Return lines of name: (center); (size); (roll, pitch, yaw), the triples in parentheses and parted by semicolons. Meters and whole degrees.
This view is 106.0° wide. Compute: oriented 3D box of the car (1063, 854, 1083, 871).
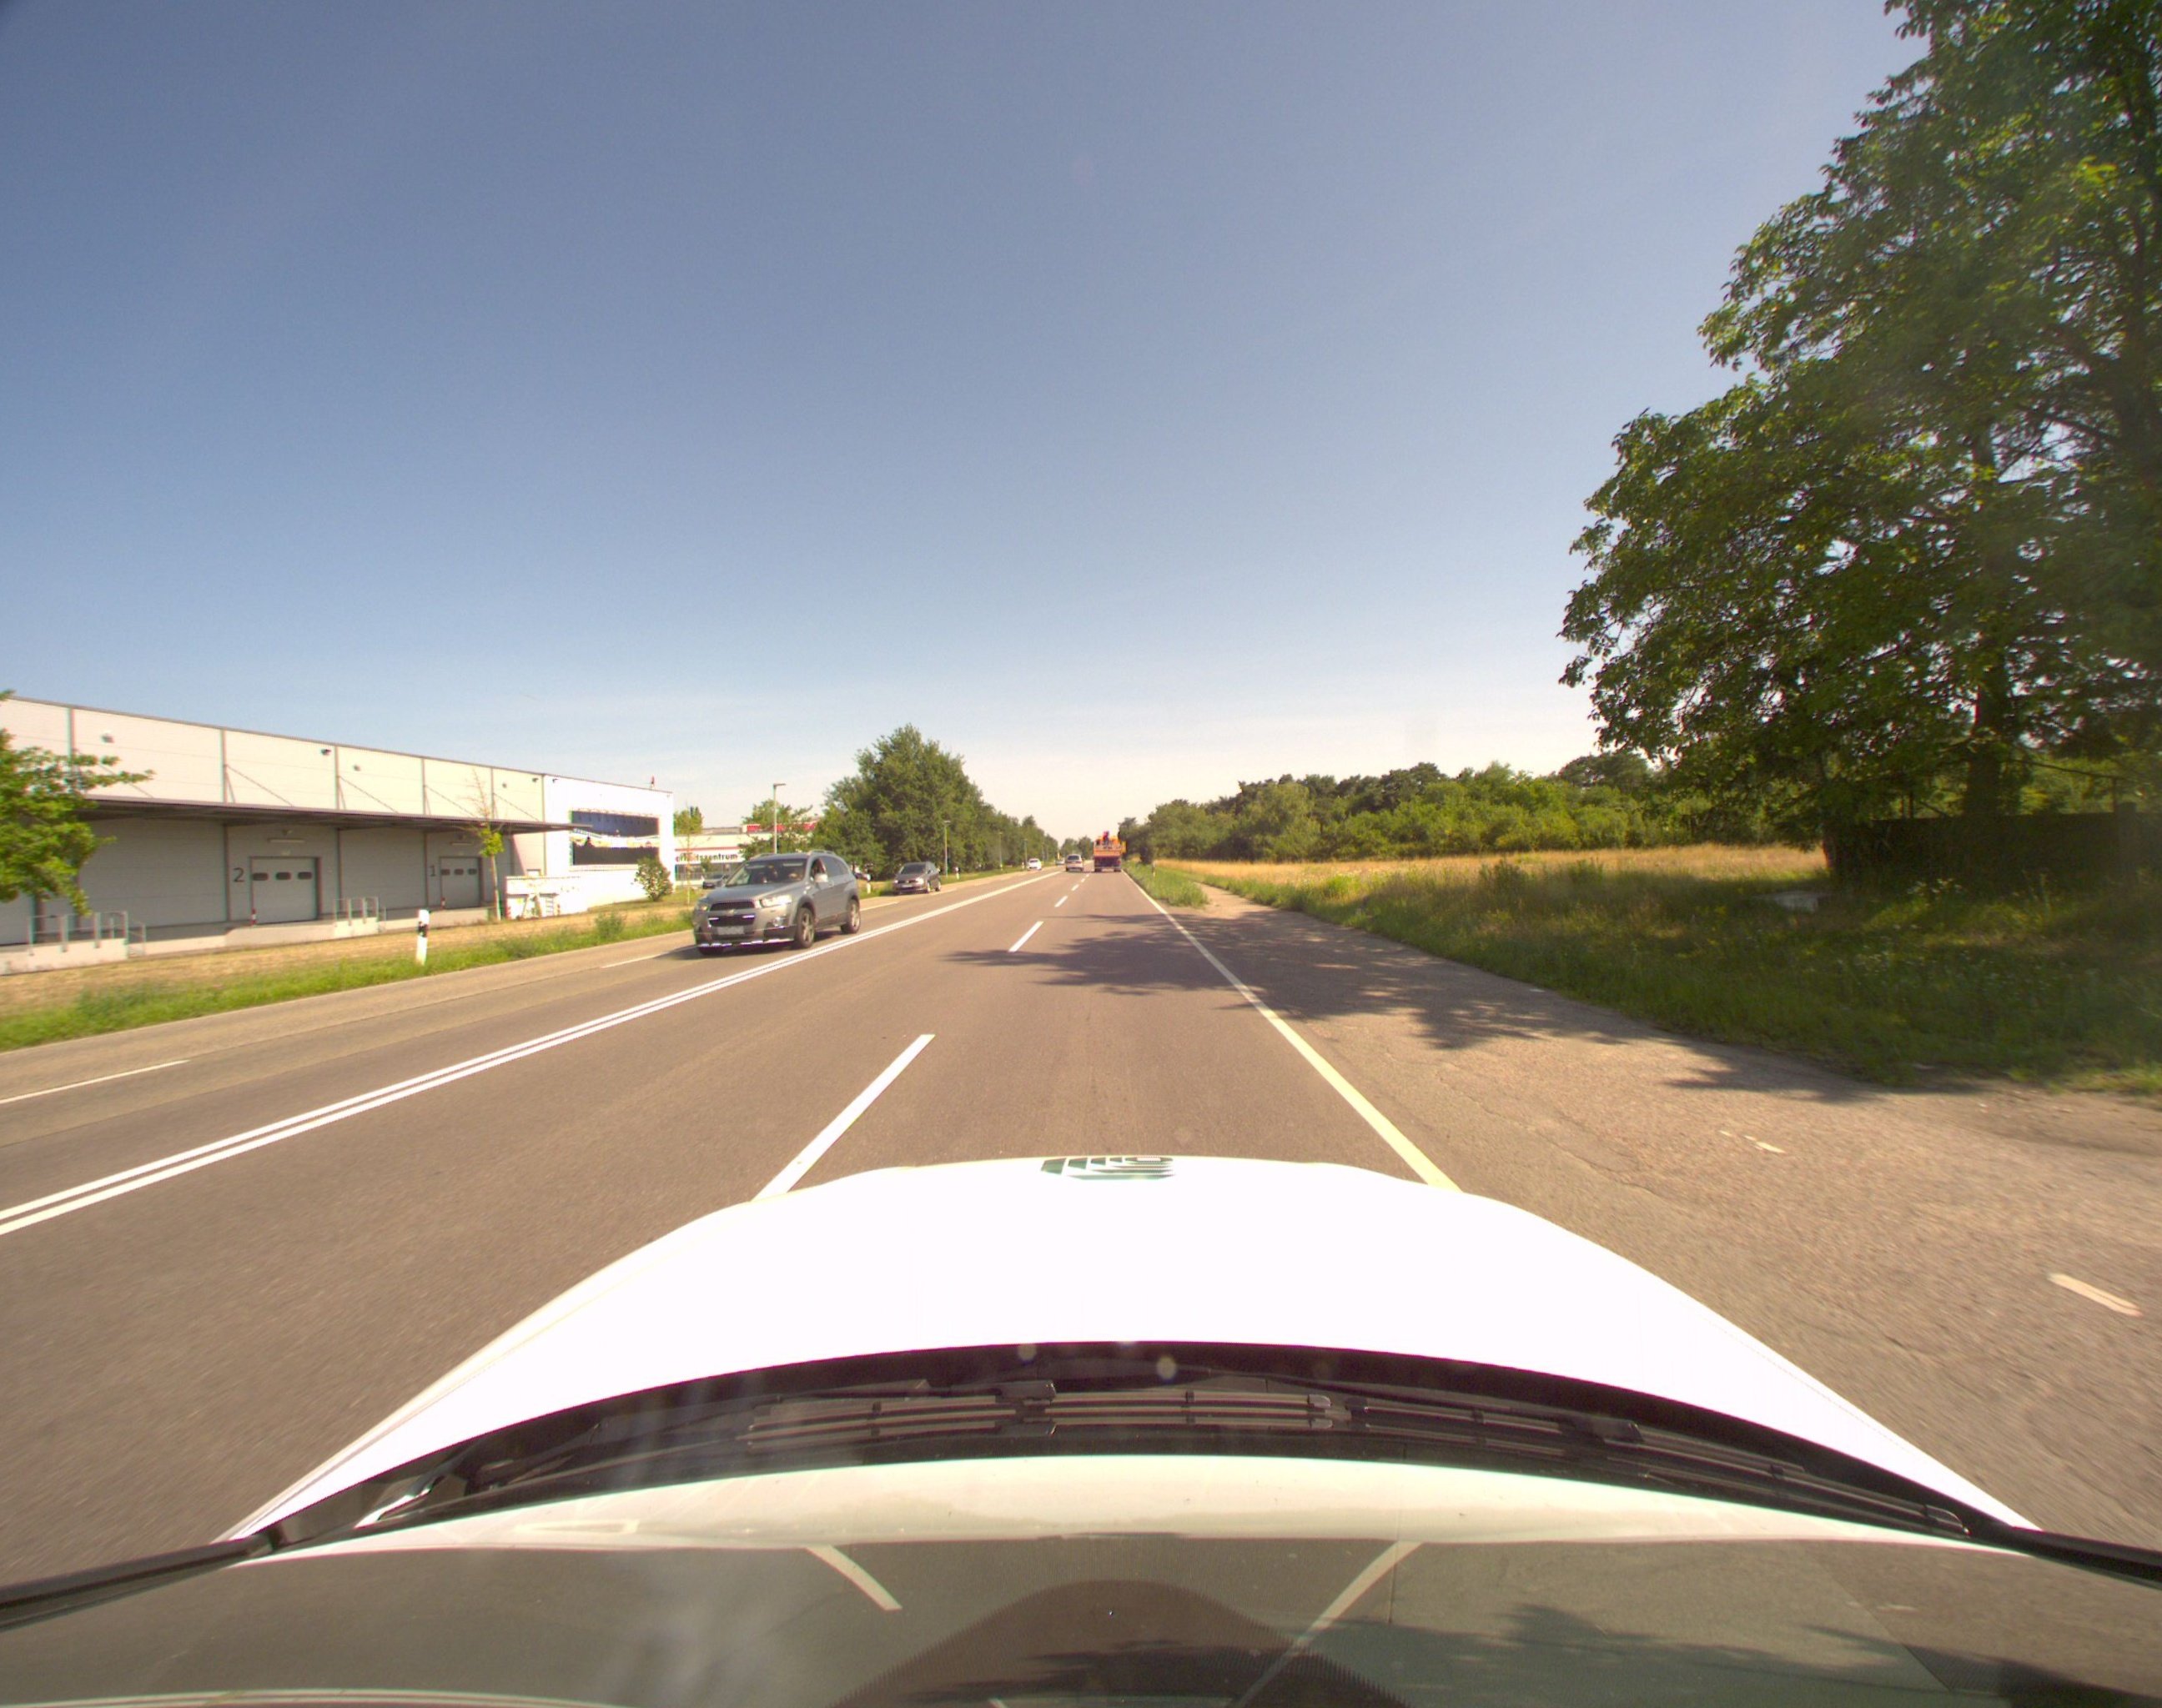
car: (-0.798, 0.870, 83.866); (1.987, 1.583, 3.999); (-2, 0, 0)

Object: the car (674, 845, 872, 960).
car: (-5.518, 0.777, 15.324); (1.765, 1.714, 4.571); (-4, 0, 2)

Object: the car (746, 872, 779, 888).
car: (-31.109, 2.521, 79.706); (1.630, 1.390, 3.723); (-2, 0, 1)

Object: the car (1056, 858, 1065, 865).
car: (-4.241, 1.507, 167.527); (1.592, 1.442, 4.001); (-4, 0, 1)

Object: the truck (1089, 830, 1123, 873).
truck: (2.273, -0.212, 76.698); (2.863, 3.880, 7.397); (0, 0, 0)

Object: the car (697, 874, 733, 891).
car: (-35.581, 2.739, 79.229); (1.630, 1.410, 3.723); (-2, 0, 1)

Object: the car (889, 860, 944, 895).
car: (-8.144, 1.124, 40.697); (1.722, 1.561, 4.216); (-2, 0, 1)

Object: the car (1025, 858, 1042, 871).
car: (-6.084, 1.354, 104.646); (1.653, 1.437, 3.736); (-4, 0, 1)
